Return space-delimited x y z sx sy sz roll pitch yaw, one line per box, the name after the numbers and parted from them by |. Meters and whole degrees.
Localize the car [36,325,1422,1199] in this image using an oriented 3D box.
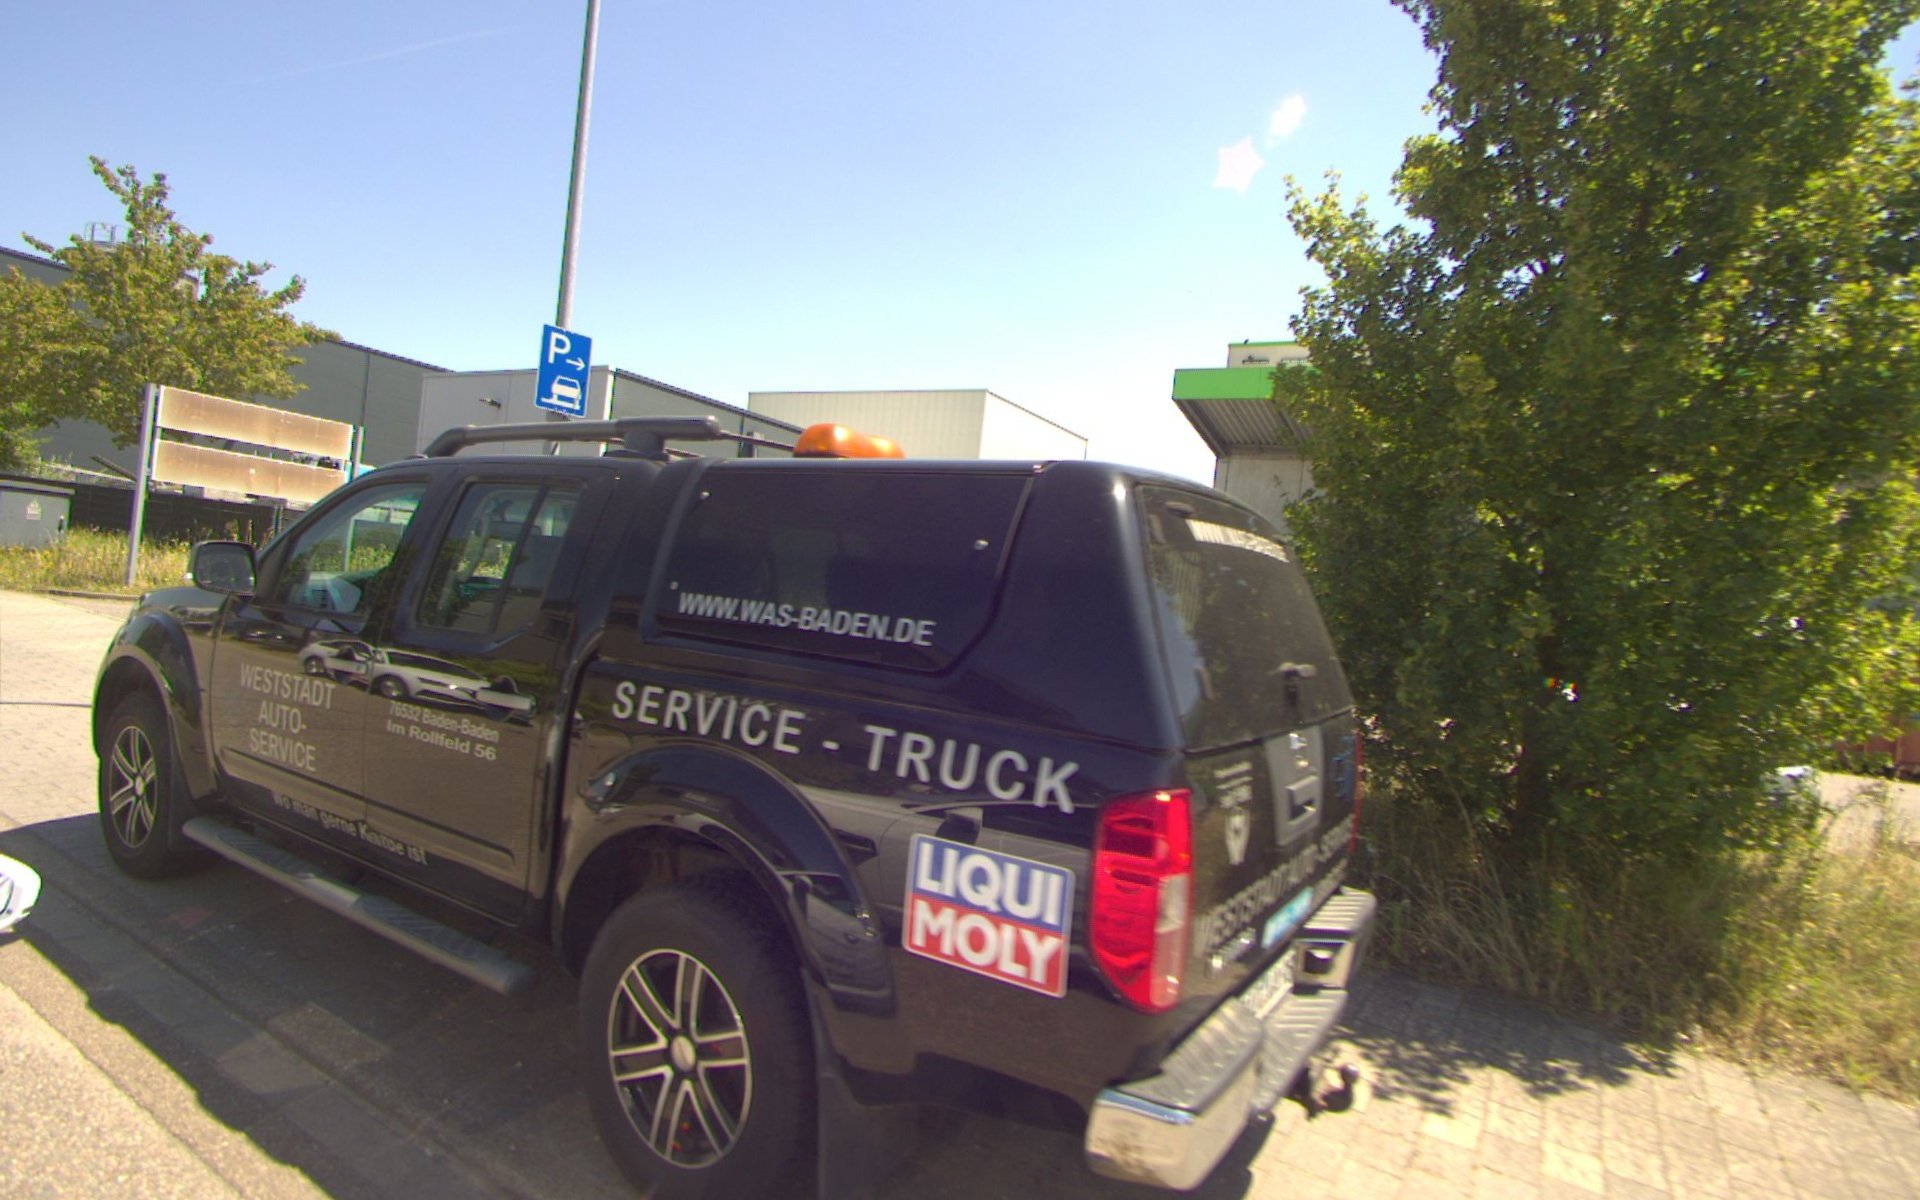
-1.253 0.334 3.791 5.071 1.909 1.994 6 2 32 | car

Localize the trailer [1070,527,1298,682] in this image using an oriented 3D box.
7.689 0.484 32.226 2.758 3.923 12.631 6 -1 32 | trailer

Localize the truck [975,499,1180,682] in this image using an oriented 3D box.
3.037 -0.114 24.737 2.758 3.923 5.067 6 0 32 | truck

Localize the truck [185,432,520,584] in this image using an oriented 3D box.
-20.435 -2.883 34.957 2.981 3.871 10.004 6 1 22 | truck
